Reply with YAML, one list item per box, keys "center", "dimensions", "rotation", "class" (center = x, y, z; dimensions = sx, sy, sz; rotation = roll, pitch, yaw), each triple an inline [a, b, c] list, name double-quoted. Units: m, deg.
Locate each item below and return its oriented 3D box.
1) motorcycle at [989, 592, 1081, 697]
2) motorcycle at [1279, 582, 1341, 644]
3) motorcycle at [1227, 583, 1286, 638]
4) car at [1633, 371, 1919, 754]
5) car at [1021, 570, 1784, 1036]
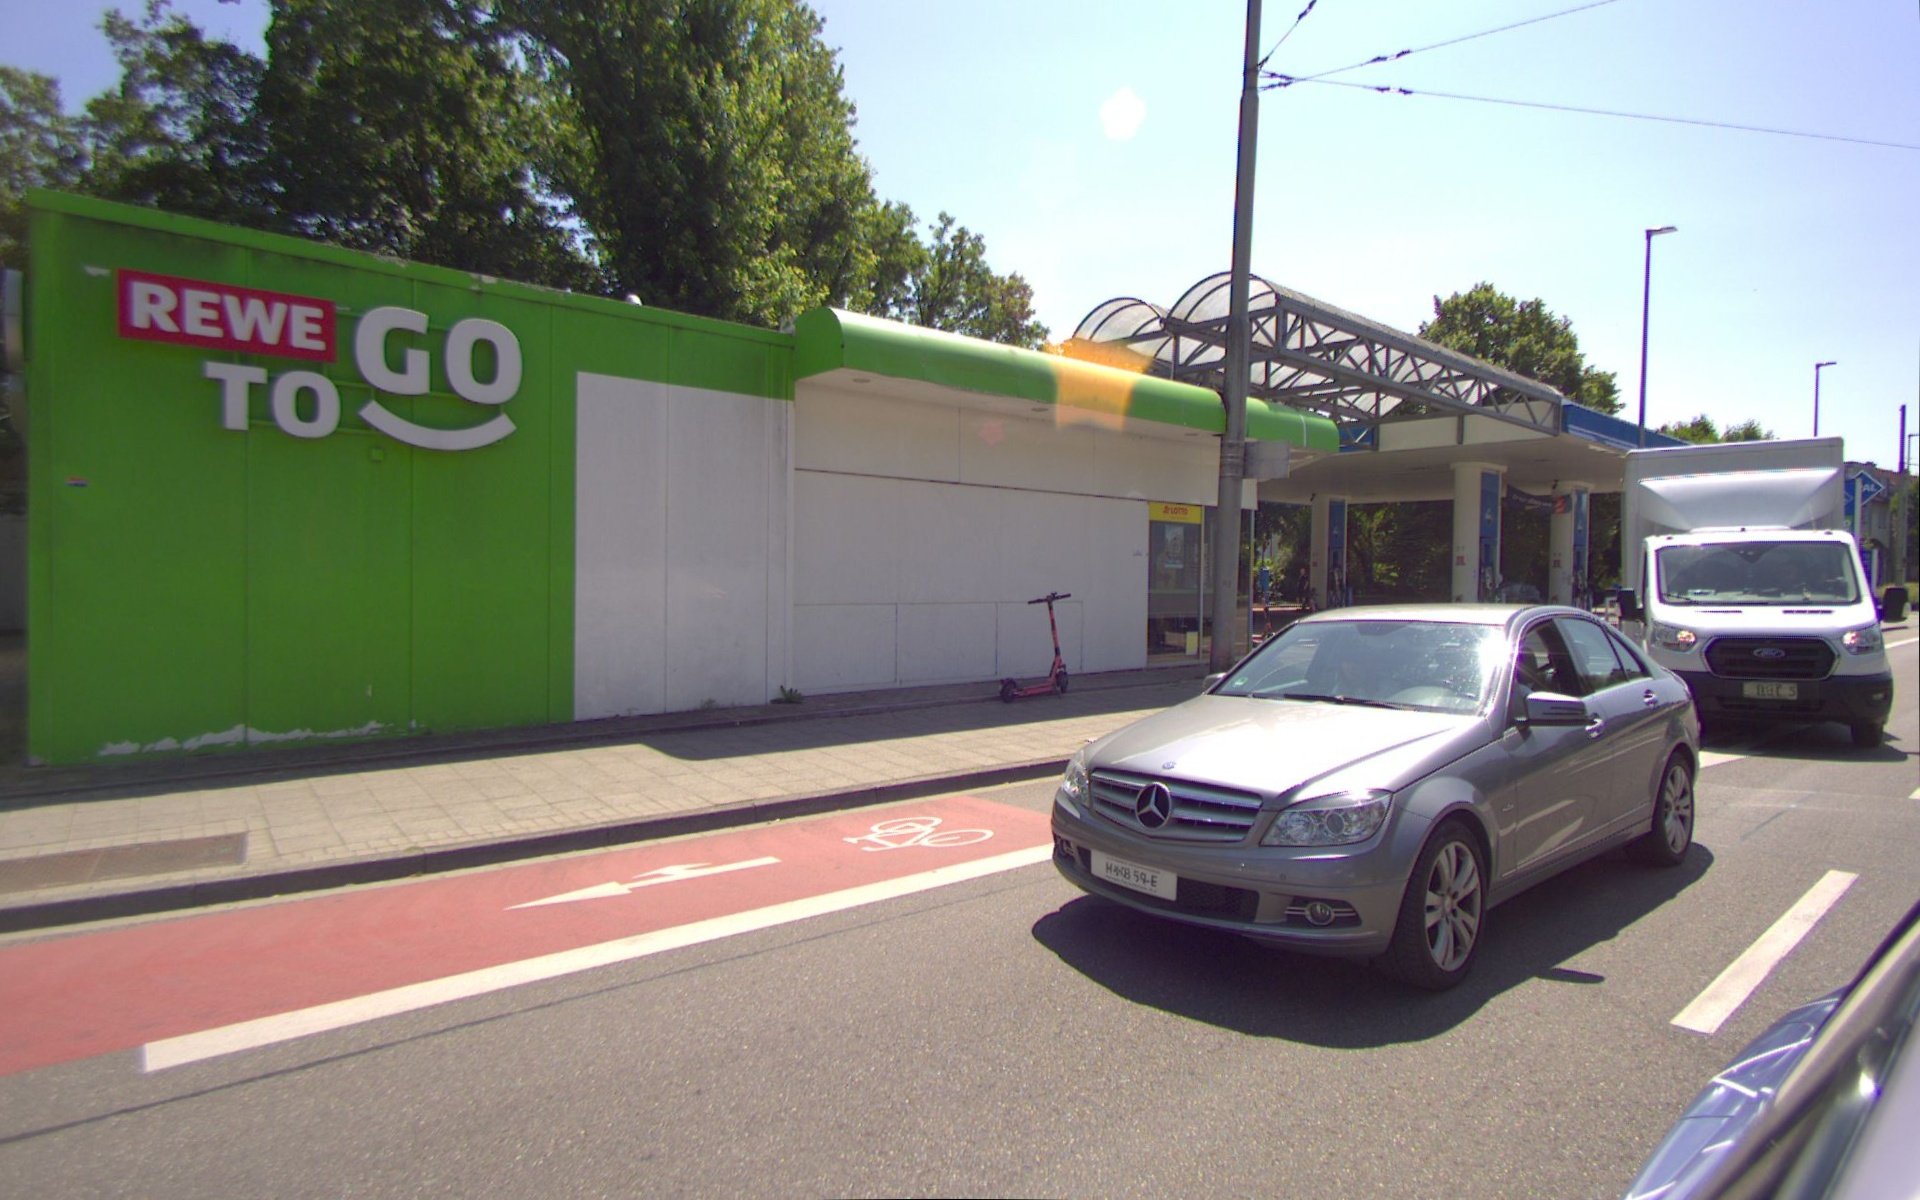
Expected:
- center: [0.863, 0.483, 11.525]
  dimensions: [1.098, 1.118, 0.253]
  rotation: [-1, 8, -40]
  class: "motorcycle"
- center: [7.336, 0.263, 21.243]
  dimensions: [0.357, 1.225, 1.156]
  rotation: [1, 2, -42]
  class: "motorcycle"
- center: [6.493, 0.224, 22.159]
  dimensions: [0.389, 1.127, 1.156]
  rotation: [1, 2, -42]
  class: "motorcycle"
- center: [10.014, -0.395, 13.049]
  dimensions: [2.215, 3.377, 8.532]
  rotation: [0, 1, 34]
  class: "car"
- center: [2.817, 0.646, 5.586]
  dimensions: [5.207, 1.492, 1.716]
  rotation: [0, 0, -40]
  class: "car"
